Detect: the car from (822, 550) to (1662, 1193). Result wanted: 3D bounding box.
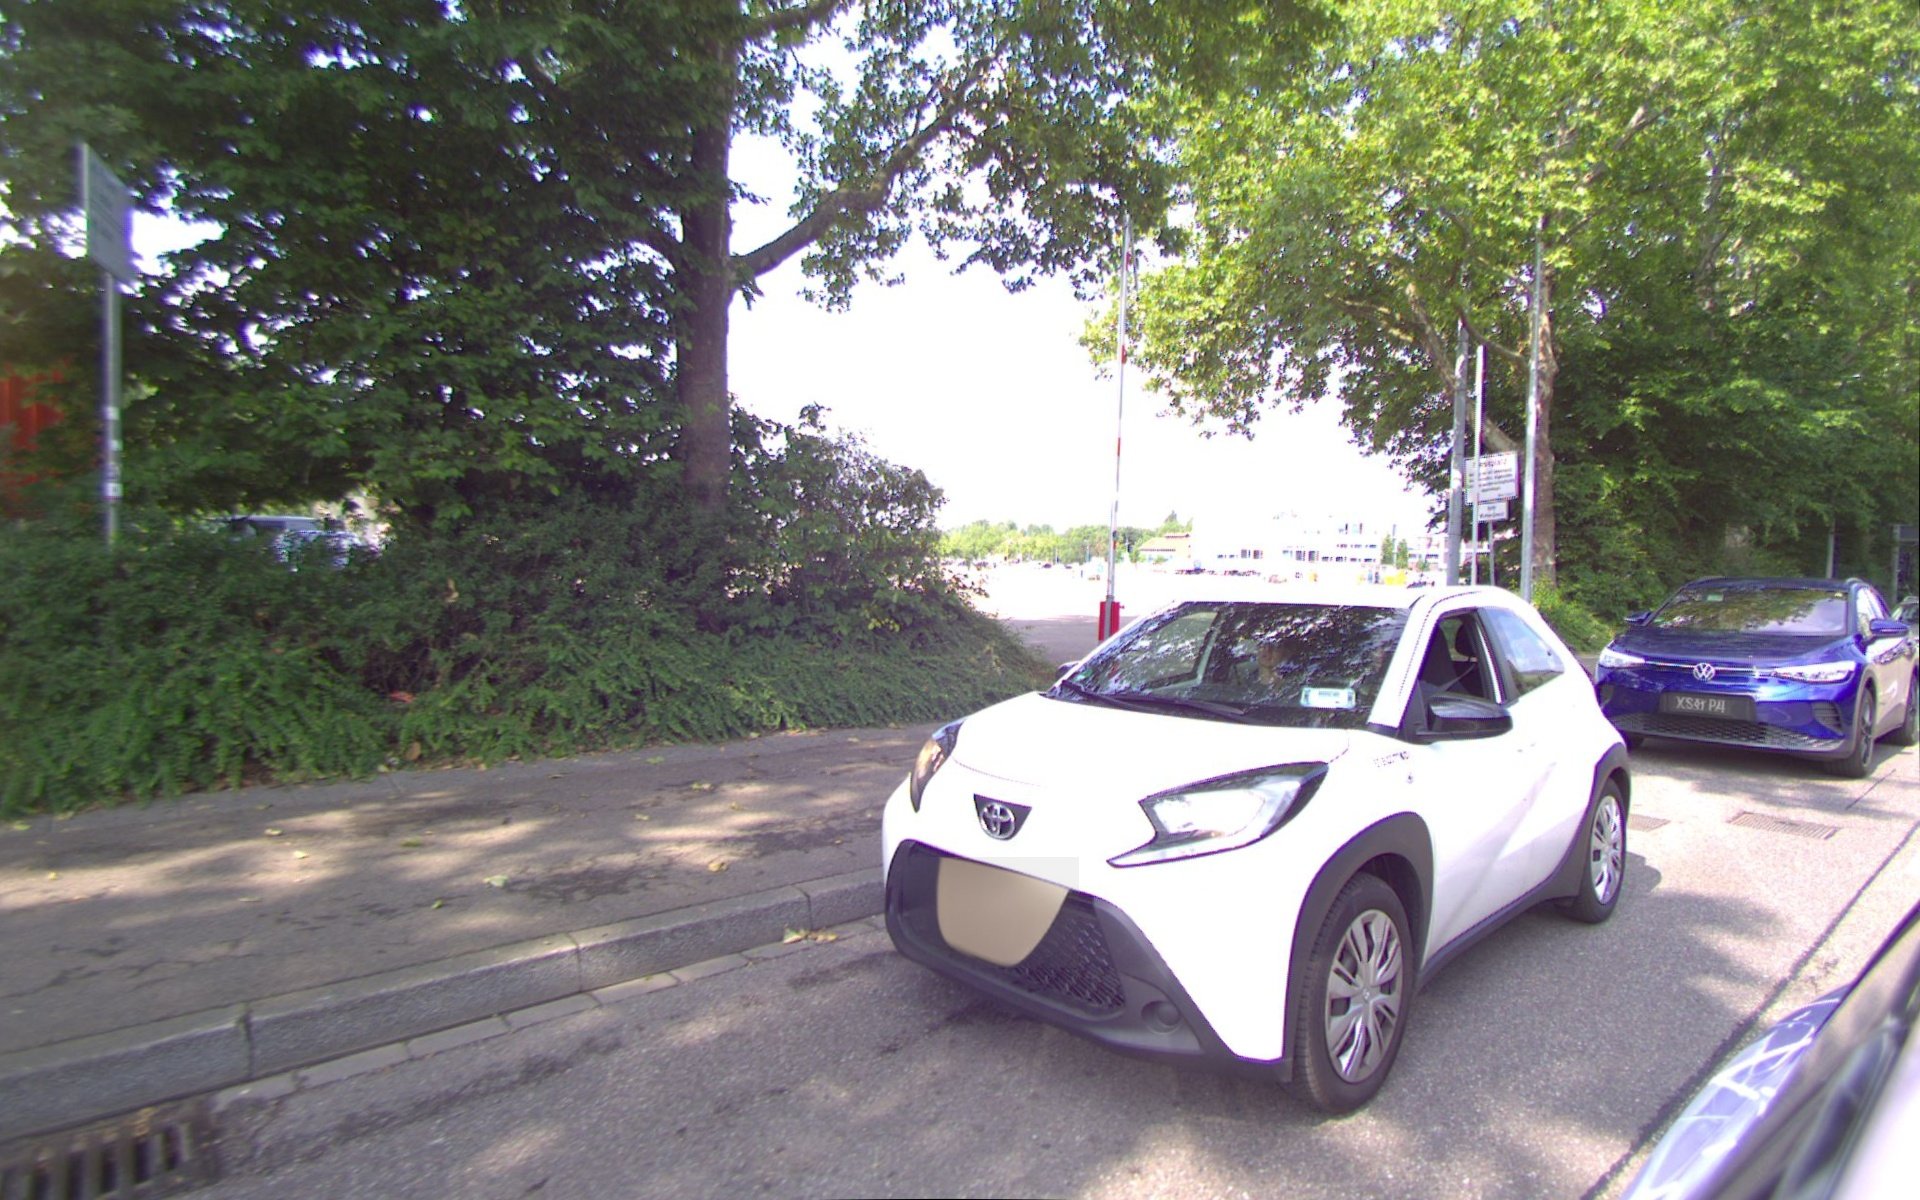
[{"bbox_3d":[1.457,0.625,4.285,3.734,1.498,1.747,0,0,-43],"label":"car"}]

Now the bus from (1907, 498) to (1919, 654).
[{"bbox_3d":[26.233,-0.601,25.171,10.211,3.509,2.743,-1,1,-40],"label":"bus"}]

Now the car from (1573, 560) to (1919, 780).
[{"bbox_3d":[7.658,0.503,9.524,4.499,1.595,1.890,0,0,-40],"label":"car"}]

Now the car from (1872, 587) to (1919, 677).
[{"bbox_3d":[17.621,0.515,17.846,3.929,1.482,1.770,-1,1,-40],"label":"car"}]
